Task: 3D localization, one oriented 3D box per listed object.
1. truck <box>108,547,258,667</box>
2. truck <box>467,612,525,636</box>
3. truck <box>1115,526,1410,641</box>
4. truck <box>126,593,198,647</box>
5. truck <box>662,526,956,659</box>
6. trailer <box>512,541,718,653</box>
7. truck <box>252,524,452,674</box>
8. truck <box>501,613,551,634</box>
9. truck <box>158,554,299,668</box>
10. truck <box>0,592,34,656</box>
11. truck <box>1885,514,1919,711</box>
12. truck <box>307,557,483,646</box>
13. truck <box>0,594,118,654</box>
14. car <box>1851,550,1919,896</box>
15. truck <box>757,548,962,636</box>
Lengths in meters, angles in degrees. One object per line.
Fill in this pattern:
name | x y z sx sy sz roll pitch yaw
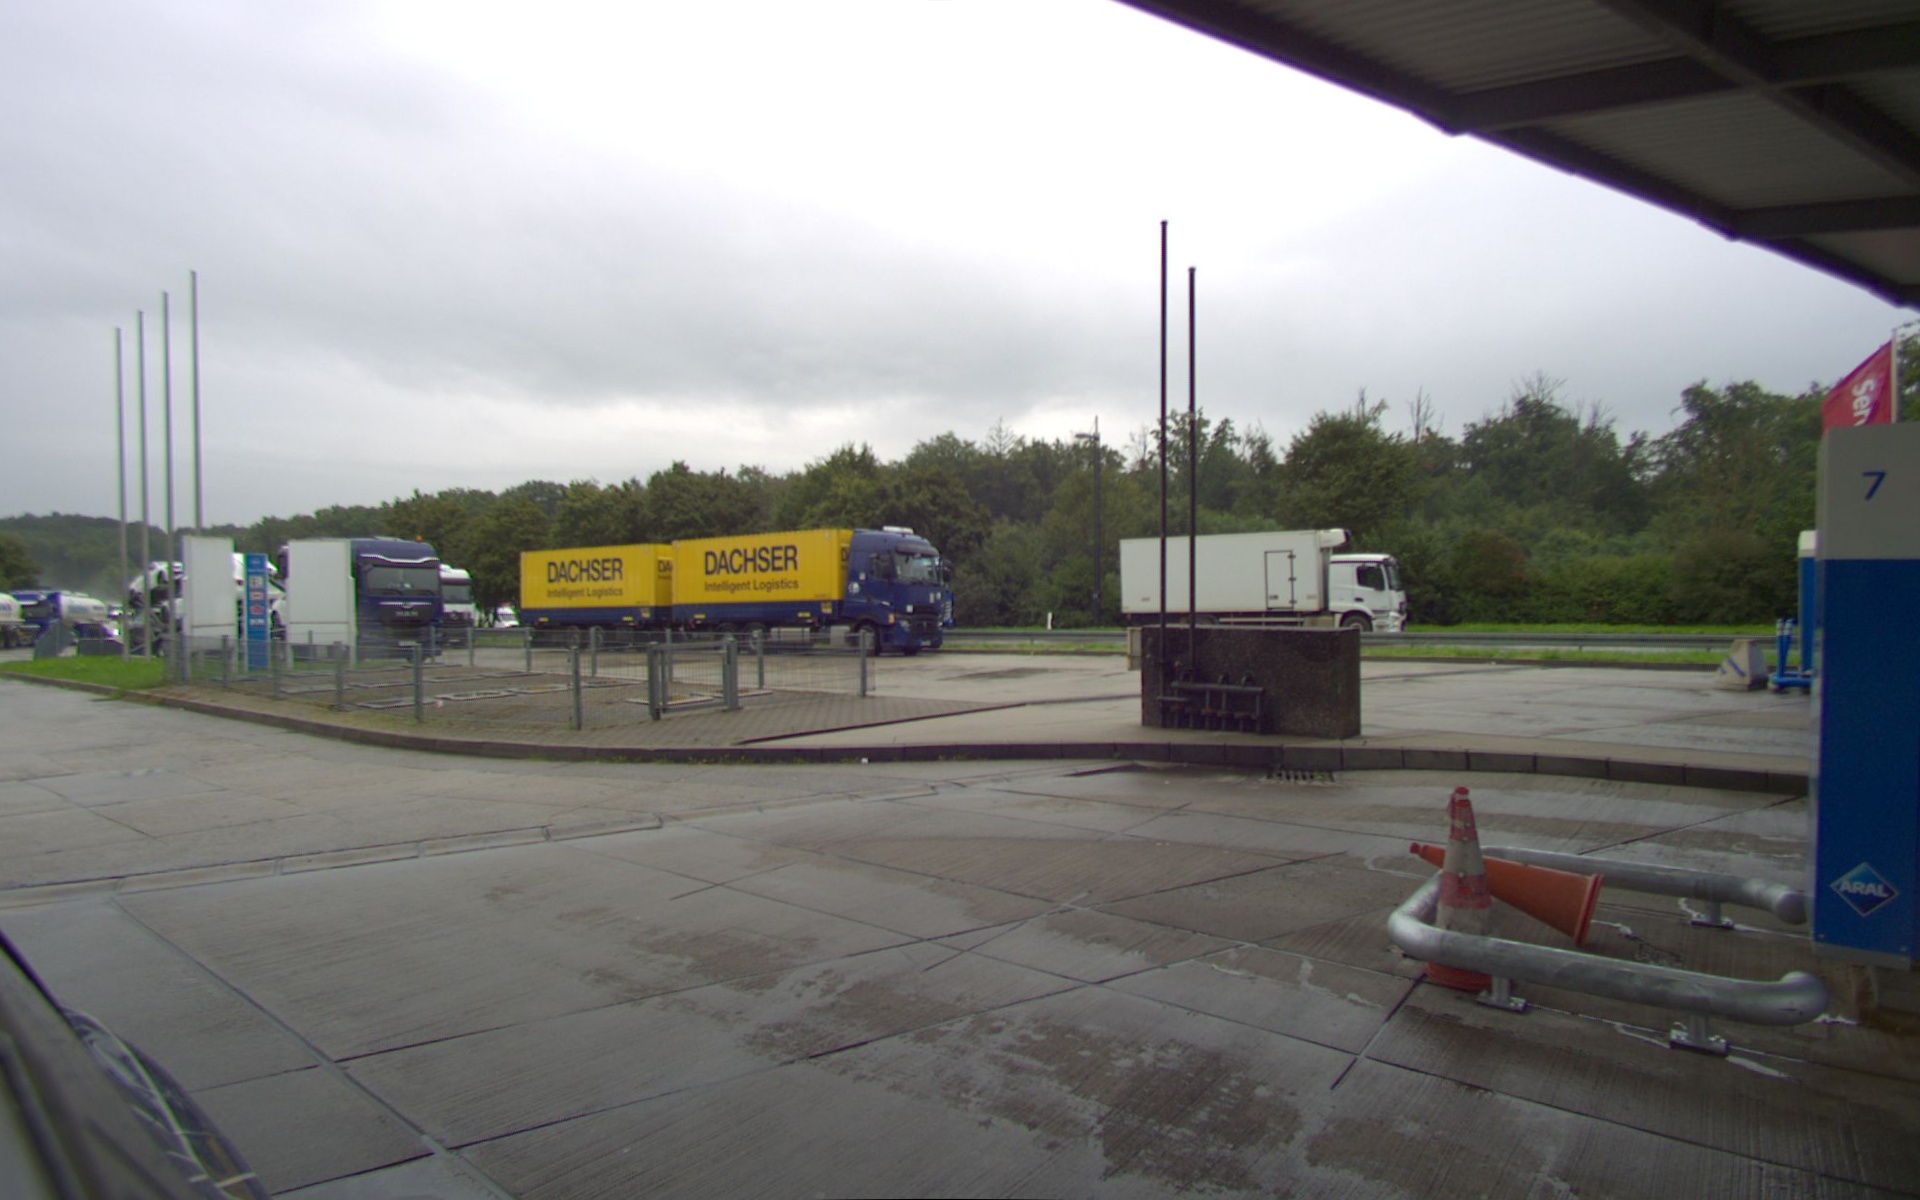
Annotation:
truck | -29.593 0.301 38.467 6.605 4.213 2.635 -1 0 35
truck | -44.234 2.254 96.406 5.810 2.140 2.061 -1 0 31
truck | 10.965 -0.514 37.468 10.195 3.836 2.395 -1 0 31
truck | -66.130 1.599 83.736 11.525 4.160 3.101 -1 0 44
truck | -5.341 -0.176 34.049 10.654 3.946 2.727 -1 0 33
trailer | -13.504 -0.071 39.278 8.679 3.946 2.728 -1 0 32
truck | -19.013 0.013 31.498 7.089 4.213 2.635 -1 0 35
truck | -42.745 2.305 99.710 4.913 2.029 1.980 -1 0 29
truck | -26.111 0.397 36.094 4.738 3.800 2.635 -1 0 34
truck | -55.160 1.340 53.710 3.454 3.633 14.444 -1 -1 -19
truck | 14.988 0.126 11.974 5.859 2.513 2.208 -1 0 41
truck | -27.323 0.106 48.648 10.654 3.946 2.727 -1 0 33
truck | -61.498 1.624 68.677 3.454 3.633 14.709 -1 -1 -27
car | 6.905 0.543 3.819 5.269 1.620 1.842 -1 0 41
truck | -4.883 -0.311 47.664 10.195 3.836 2.395 -1 0 31
